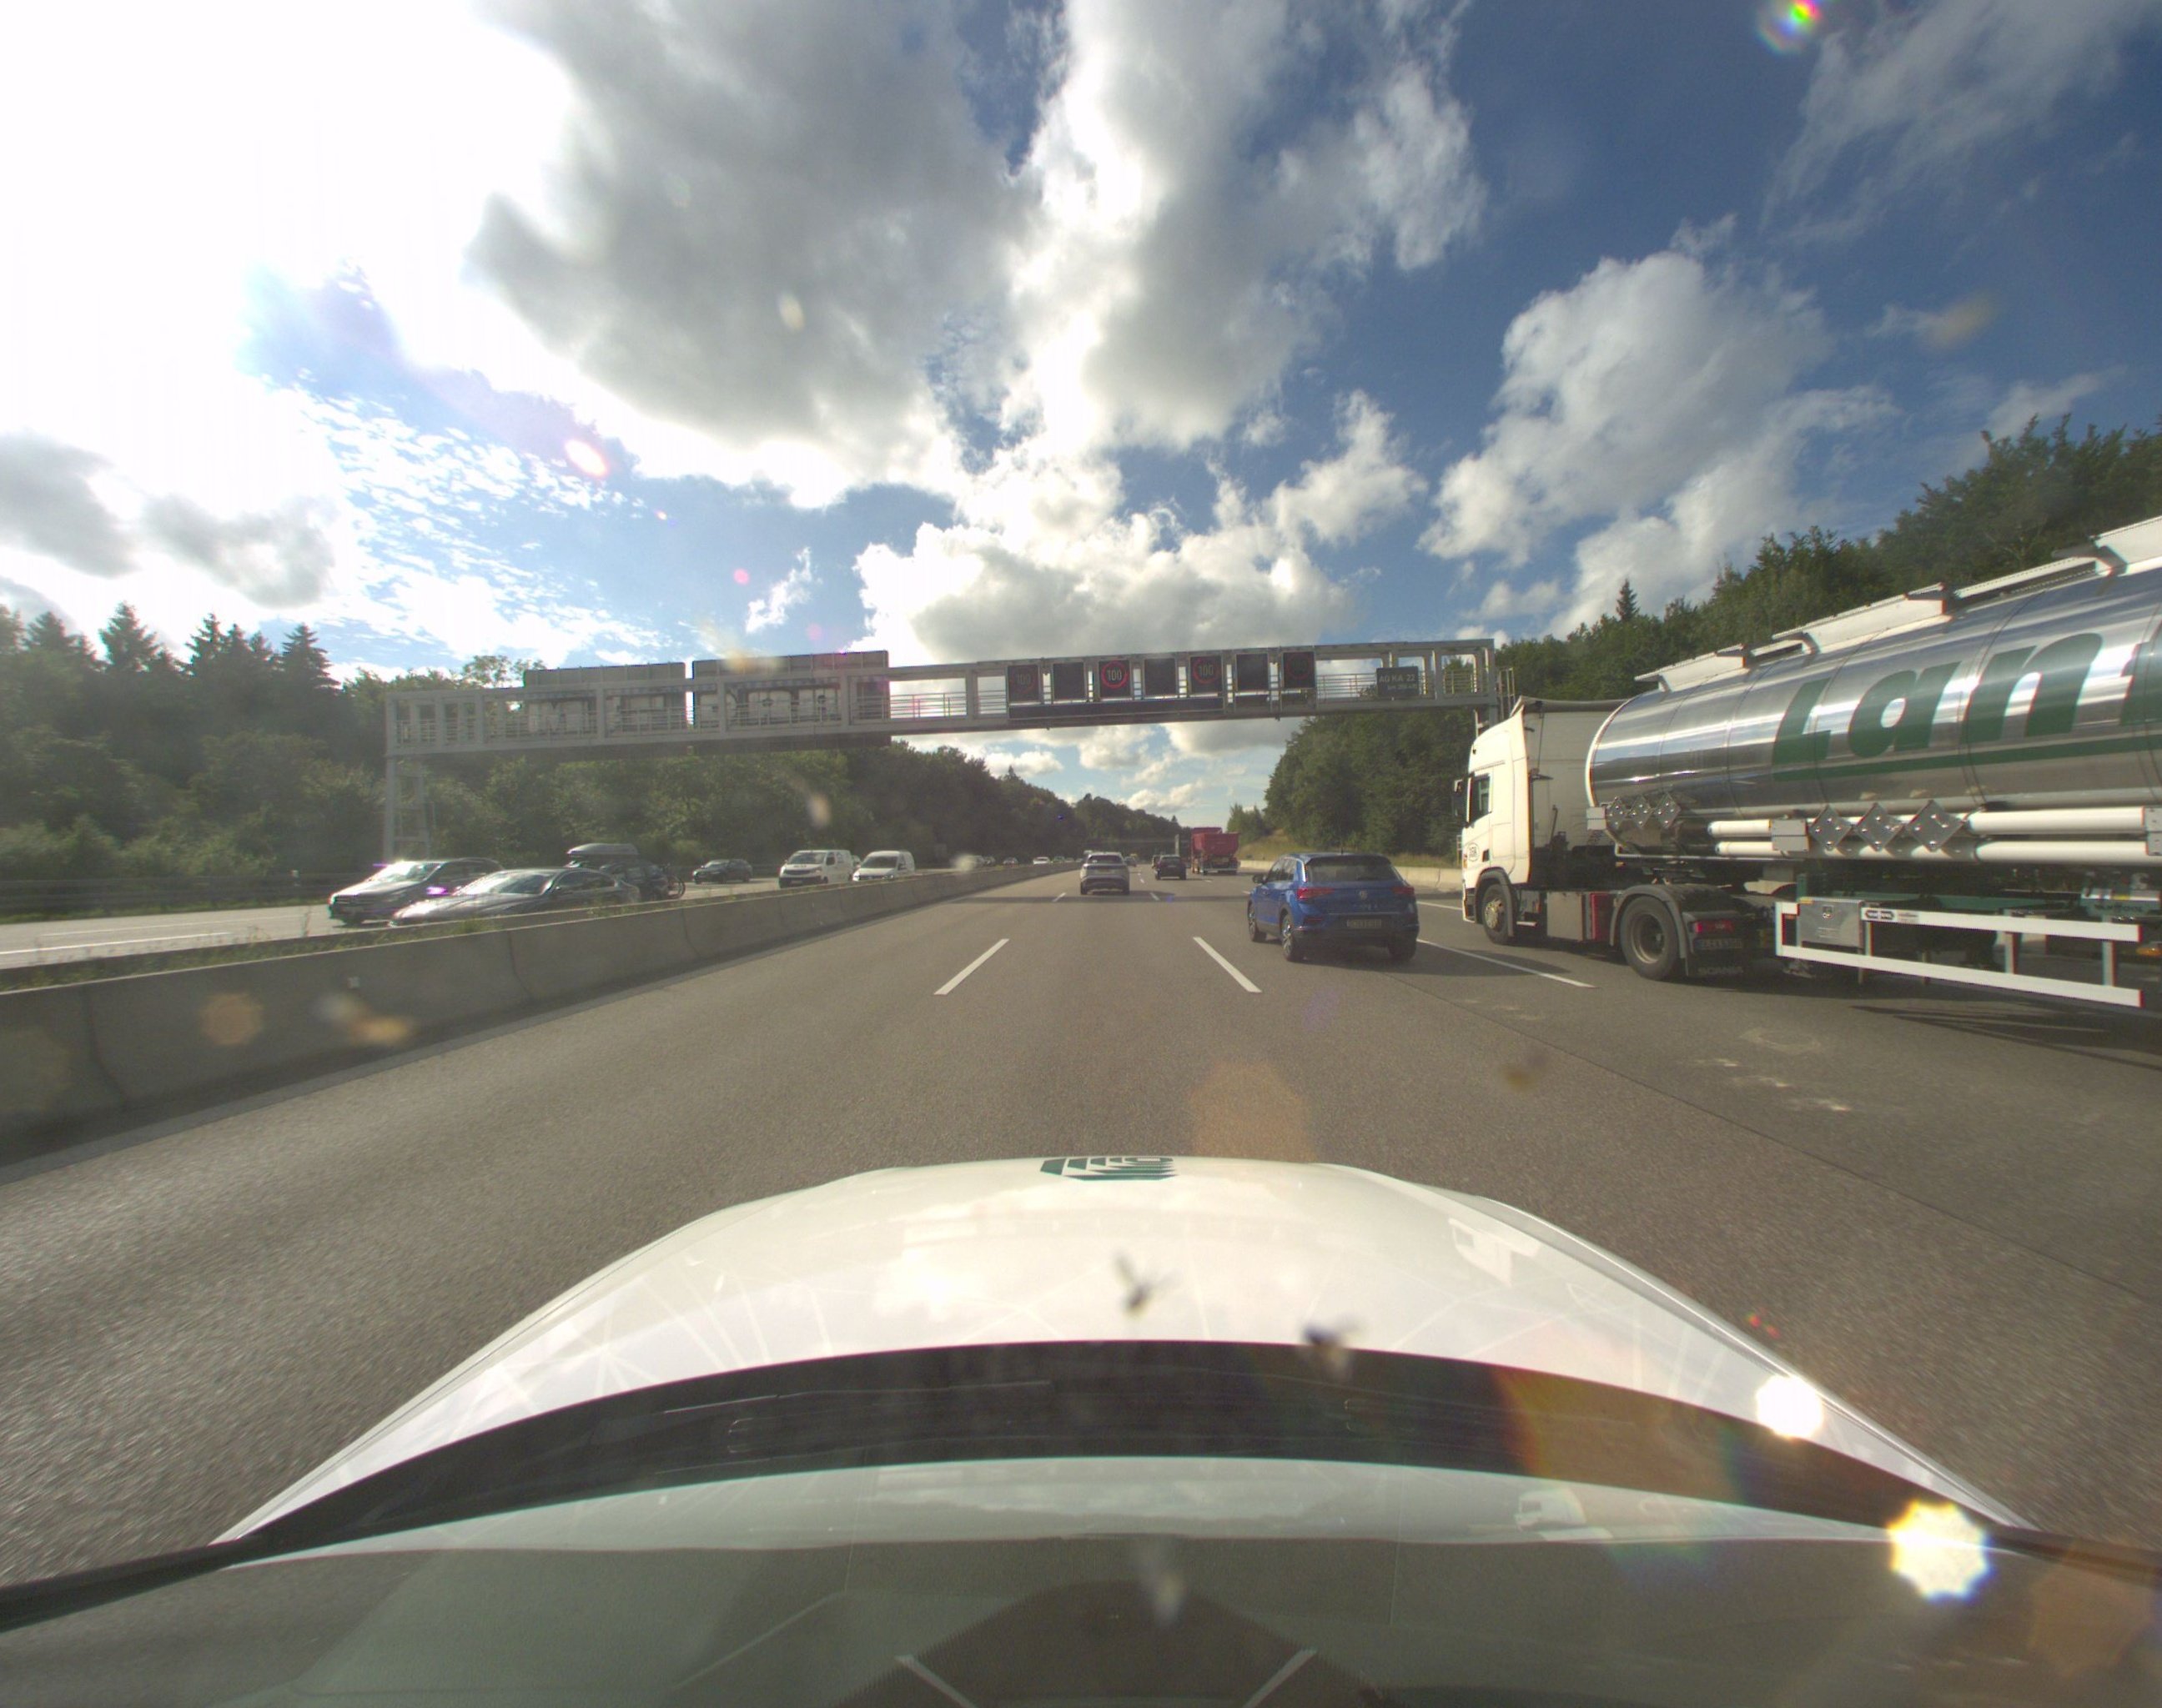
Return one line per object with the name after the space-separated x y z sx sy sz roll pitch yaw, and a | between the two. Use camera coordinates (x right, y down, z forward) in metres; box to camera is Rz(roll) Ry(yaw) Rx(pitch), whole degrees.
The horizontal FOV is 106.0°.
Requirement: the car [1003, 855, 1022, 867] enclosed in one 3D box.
-10.069 0.955 119.665 1.919 1.716 4.430 -1 0 6 | car

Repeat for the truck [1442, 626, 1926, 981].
7.942 -0.551 11.956 2.639 3.823 6.083 -1 0 1 | truck

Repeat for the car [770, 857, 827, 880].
-20.234 0.986 58.530 1.807 1.545 5.141 0 0 7 | car

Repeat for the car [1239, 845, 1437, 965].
3.754 0.662 12.746 1.767 1.530 4.458 0 0 1 | car

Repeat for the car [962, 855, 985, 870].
-12.038 0.926 91.656 1.658 1.640 4.485 0 0 5 | car

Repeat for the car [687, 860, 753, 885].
-21.555 1.073 48.857 1.695 1.440 4.709 -1 0 2 | car

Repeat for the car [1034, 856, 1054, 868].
-4.392 0.914 97.340 1.714 1.310 4.890 -1 0 6 | car

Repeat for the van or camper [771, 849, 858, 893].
-11.830 0.708 36.599 1.853 1.850 5.161 -1 0 4 | van or camper

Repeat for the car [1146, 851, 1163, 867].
8.824 0.588 97.729 1.886 1.857 4.103 0 0 3 | car

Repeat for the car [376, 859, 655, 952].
-9.727 0.793 14.570 1.787 1.375 4.548 0 0 0 | car

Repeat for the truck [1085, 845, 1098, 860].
2.935 -0.438 231.636 2.691 4.068 6.614 0 0 9 | truck

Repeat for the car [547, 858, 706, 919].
-12.666 0.896 23.095 1.691 1.528 4.688 0 0 3 | car

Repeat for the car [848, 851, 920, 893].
-8.151 0.703 34.130 1.763 1.649 4.521 0 0 2 | car

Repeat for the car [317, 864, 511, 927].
-16.940 0.983 20.974 1.632 1.416 4.001 0 0 1 | car

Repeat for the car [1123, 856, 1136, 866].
6.966 1.004 116.232 1.814 1.457 4.005 -1 -1 5 | car

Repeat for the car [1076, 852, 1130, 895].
0.981 0.729 33.251 1.998 1.616 5.305 0 0 3 | car

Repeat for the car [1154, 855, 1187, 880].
5.473 0.773 49.971 1.815 1.457 4.003 0 0 3 | car

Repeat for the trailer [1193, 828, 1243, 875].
10.137 -0.202 61.239 2.698 3.231 9.741 -1 0 4 | trailer

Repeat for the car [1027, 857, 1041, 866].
-9.068 1.485 158.151 1.917 1.716 4.433 -1 0 9 | car

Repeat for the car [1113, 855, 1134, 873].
3.767 0.882 72.482 1.814 1.546 4.004 0 0 3 | car

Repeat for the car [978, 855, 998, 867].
-14.102 1.043 123.654 1.918 1.716 4.431 -1 0 7 | car

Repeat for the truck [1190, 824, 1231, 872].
10.423 -0.487 66.113 2.698 3.718 5.823 -1 0 3 | truck

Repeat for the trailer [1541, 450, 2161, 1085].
7.770 -0.535 5.657 2.639 3.767 11.863 -1 0 1 | trailer

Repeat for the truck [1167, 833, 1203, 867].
12.508 -0.474 98.754 3.108 3.935 10.411 0 0 1 | truck

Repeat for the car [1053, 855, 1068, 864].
-3.422 0.910 136.278 1.712 1.479 4.641 0 0 8 | car

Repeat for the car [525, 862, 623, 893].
-22.841 1.038 36.865 1.695 1.288 4.185 0 0 2 | car
